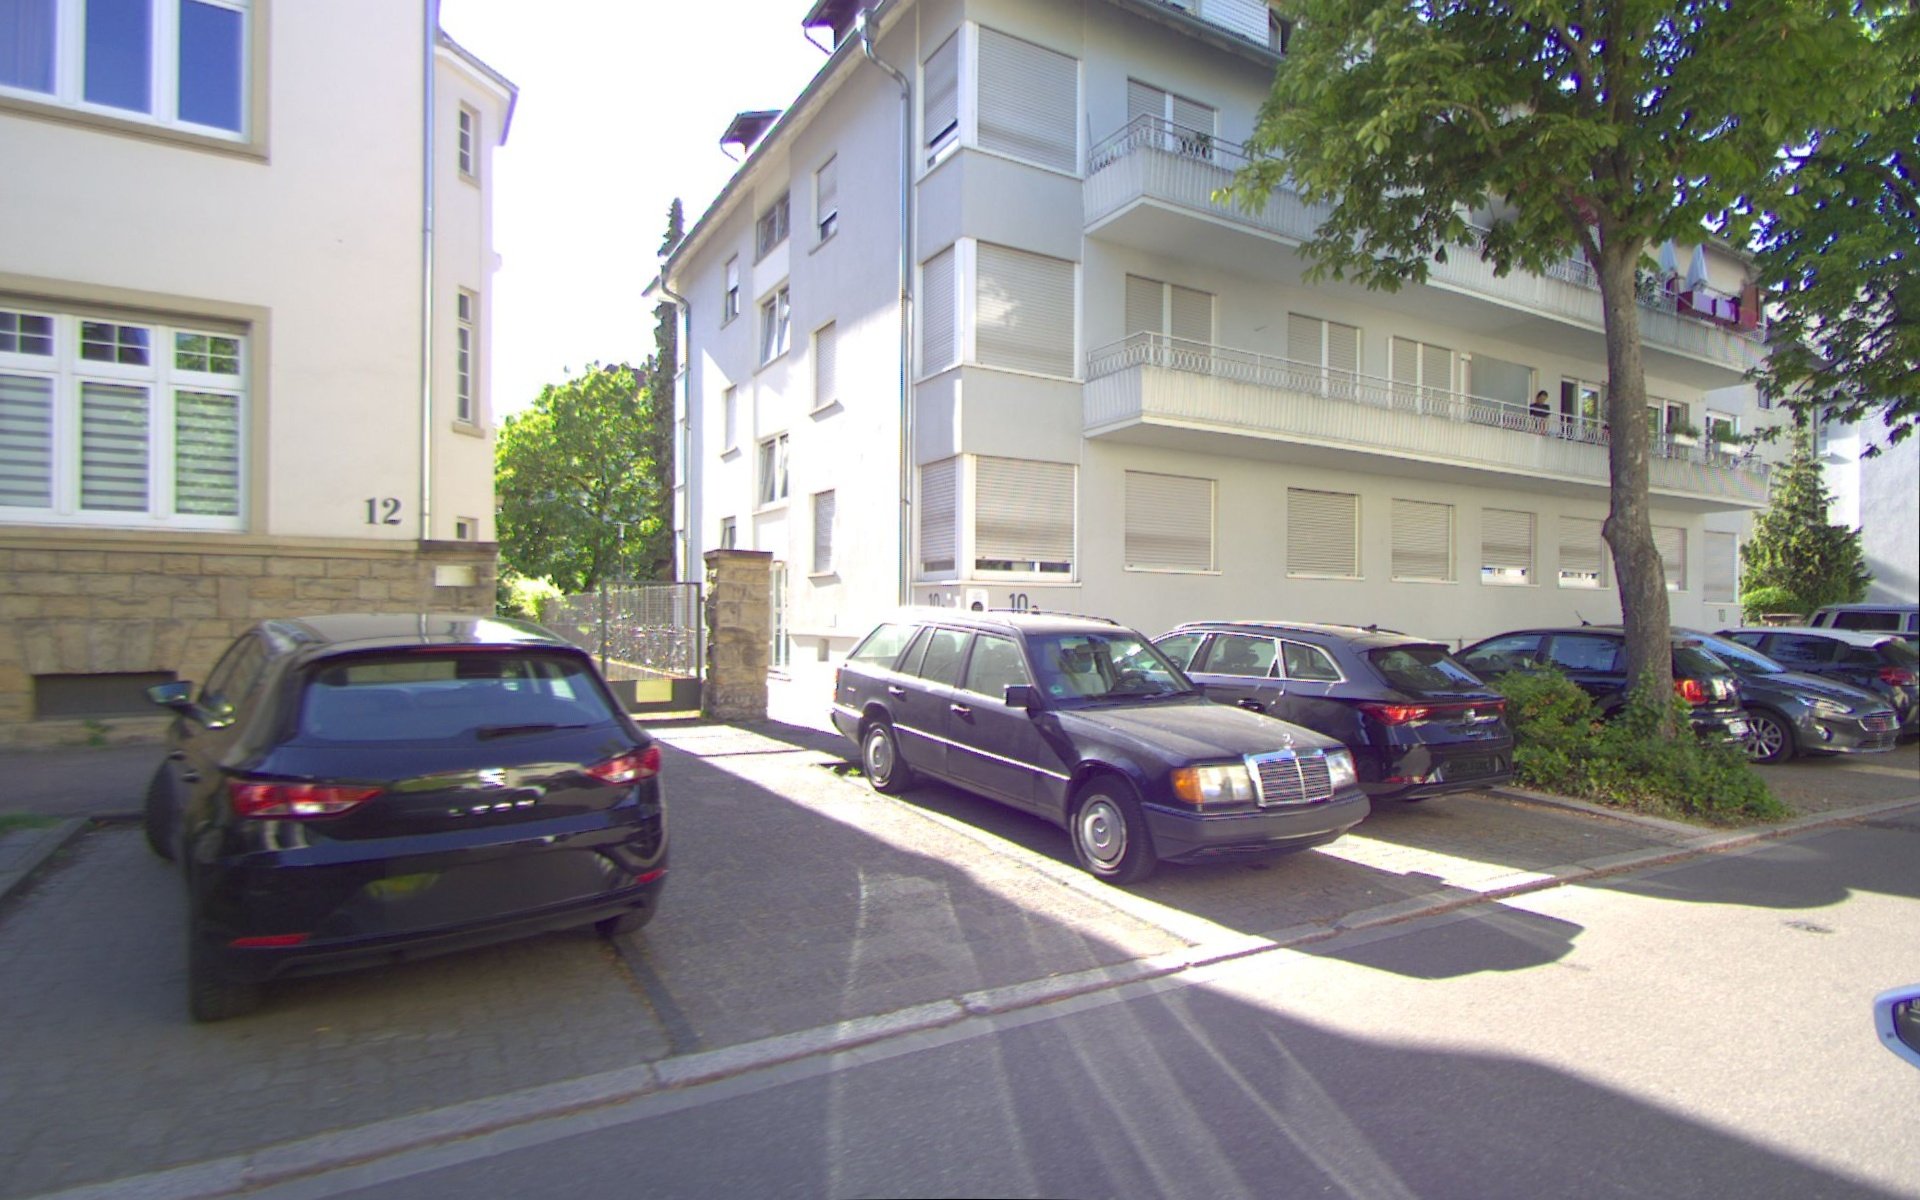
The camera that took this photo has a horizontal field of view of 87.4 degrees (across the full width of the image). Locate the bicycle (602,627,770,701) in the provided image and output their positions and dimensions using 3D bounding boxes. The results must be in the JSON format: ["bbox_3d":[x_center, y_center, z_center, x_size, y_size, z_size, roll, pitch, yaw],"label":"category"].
[{"bbox_3d":[-4.927,1.132,18.228,2.926,1.254,0.486,1,-1,-31],"label":"bicycle"}]

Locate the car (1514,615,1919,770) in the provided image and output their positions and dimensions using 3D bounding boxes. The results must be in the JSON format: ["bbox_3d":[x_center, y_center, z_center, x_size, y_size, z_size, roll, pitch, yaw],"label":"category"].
[{"bbox_3d":[9.115,1.005,12.403,1.689,1.482,3.629,2,0,-28],"label":"car"}]

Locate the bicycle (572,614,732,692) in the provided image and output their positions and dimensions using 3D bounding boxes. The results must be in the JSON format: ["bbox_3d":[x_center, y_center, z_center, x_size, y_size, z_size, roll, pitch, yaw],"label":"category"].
[{"bbox_3d":[-6.113,1.038,20.085,2.994,1.476,0.540,1,-1,-31],"label":"bicycle"}]

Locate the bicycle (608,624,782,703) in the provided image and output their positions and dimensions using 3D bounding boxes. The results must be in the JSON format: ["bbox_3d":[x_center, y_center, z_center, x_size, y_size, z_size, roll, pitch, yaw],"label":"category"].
[{"bbox_3d":[-4.635,1.096,17.742,2.961,1.316,0.462,1,-1,-31],"label":"bicycle"}]

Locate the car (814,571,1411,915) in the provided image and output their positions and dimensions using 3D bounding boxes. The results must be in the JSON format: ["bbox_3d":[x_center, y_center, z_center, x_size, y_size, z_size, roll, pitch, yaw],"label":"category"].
[{"bbox_3d":[0.702,0.687,7.493,1.813,1.629,4.562,1,2,-33],"label":"car"}]

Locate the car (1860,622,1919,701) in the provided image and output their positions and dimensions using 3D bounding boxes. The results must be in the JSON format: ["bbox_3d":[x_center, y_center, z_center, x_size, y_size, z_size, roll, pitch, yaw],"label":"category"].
[{"bbox_3d":[20.185,1.259,19.329,1.641,1.518,3.929,0,1,-28],"label":"car"}]

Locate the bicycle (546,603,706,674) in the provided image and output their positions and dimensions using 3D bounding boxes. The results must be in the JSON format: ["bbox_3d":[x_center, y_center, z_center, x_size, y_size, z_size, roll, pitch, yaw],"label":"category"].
[{"bbox_3d":[-7.300,0.835,22.110,3.286,1.485,0.534,1,-1,-31],"label":"bicycle"}]

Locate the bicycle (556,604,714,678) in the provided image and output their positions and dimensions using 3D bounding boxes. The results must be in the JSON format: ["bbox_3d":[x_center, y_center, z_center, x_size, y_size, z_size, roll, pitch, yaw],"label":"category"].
[{"bbox_3d":[-6.866,0.864,21.372,3.153,1.485,0.556,1,-1,-31],"label":"bicycle"}]

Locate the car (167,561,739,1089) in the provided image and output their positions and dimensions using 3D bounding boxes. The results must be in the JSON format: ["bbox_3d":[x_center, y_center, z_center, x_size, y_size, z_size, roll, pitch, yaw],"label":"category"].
[{"bbox_3d":[-2.836,0.642,5.086,1.817,1.534,3.839,2,1,-39],"label":"car"}]

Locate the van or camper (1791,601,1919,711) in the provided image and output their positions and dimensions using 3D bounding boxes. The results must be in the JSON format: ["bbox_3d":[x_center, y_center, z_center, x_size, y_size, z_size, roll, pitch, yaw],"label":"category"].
[{"bbox_3d":[17.851,1.004,17.781,1.941,1.940,4.476,2,-1,-30],"label":"van or camper"}]

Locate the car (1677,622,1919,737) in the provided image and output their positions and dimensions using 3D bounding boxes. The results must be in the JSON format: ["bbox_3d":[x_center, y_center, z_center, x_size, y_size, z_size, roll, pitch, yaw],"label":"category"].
[{"bbox_3d":[13.285,1.127,14.955,1.696,1.434,3.900,1,1,-32],"label":"car"}]

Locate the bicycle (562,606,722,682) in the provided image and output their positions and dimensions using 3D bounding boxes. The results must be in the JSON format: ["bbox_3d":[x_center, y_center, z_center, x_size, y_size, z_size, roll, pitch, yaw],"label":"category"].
[{"bbox_3d":[-6.520,0.895,20.753,3.102,1.485,0.543,1,-1,-31],"label":"bicycle"}]

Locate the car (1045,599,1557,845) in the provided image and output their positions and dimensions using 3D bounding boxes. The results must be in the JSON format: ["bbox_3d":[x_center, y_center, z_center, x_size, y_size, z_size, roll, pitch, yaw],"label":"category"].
[{"bbox_3d":[2.677,0.836,8.917,1.693,1.460,4.165,2,2,-31],"label":"car"}]

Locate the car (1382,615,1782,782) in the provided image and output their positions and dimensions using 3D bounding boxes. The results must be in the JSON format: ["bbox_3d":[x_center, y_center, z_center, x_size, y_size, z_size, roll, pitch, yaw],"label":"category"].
[{"bbox_3d":[6.873,0.982,11.405,1.693,1.439,3.455,2,0,-35],"label":"car"}]

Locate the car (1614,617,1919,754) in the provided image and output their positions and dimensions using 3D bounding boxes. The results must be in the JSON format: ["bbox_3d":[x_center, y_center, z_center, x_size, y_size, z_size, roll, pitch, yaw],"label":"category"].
[{"bbox_3d":[11.258,1.057,13.712,1.776,1.477,3.463,2,0,-29],"label":"car"}]
